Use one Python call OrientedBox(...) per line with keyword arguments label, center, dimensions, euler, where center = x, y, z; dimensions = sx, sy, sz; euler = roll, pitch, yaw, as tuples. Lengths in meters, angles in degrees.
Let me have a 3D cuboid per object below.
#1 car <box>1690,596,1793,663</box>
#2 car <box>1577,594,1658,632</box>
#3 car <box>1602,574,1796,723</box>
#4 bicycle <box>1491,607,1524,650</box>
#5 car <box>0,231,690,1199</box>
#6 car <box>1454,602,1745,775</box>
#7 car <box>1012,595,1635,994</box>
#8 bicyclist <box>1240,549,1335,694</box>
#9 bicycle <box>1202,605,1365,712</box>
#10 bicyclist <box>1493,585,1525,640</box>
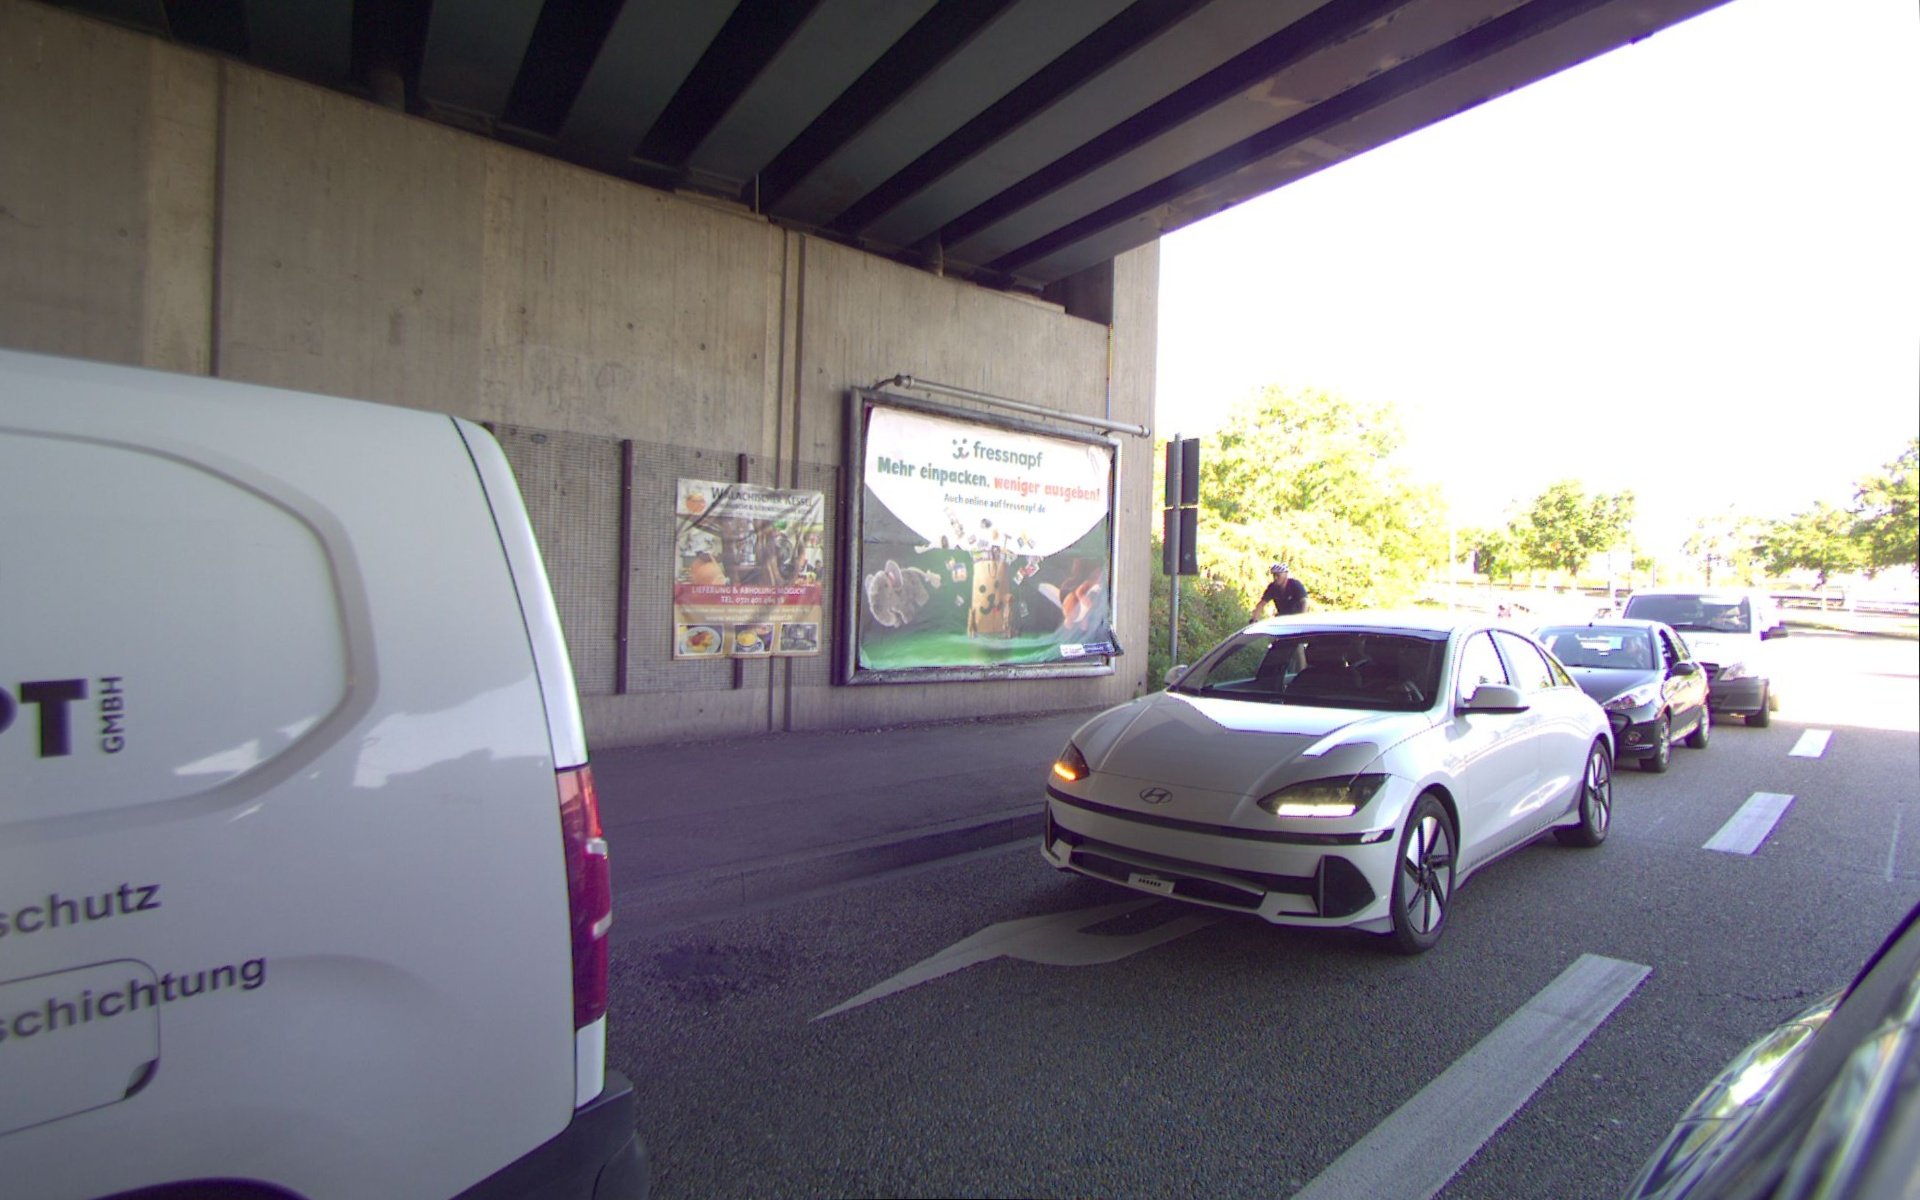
OrientedBox(label="car", center=(20.478, 0.689, 26.488), dimensions=(1.990, 1.570, 4.359), euler=(0, 1, 39))
OrientedBox(label="car", center=(29.563, 0.546, 45.455), dimensions=(4.453, 1.616, 1.818), euler=(0, 1, -39))
OrientedBox(label="car", center=(11.090, 0.596, 15.034), dimensions=(1.896, 1.859, 4.762), euler=(0, 0, 42))
OrientedBox(label="bicycle", center=(15.990, 0.809, 29.535), dimensions=(0.649, 1.181, 1.757), euler=(4, 2, 33))
OrientedBox(label="car", center=(-2.602, 0.511, 0.858), dimensions=(4.227, 1.857, 1.815), euler=(1, -1, -43))
OrientedBox(label="car", center=(6.812, 0.765, 10.641), dimensions=(3.654, 1.474, 1.747), euler=(0, 0, -43))
OrientedBox(label="car", center=(2.474, 0.715, 6.009), dimensions=(1.746, 1.474, 4.589), euler=(0, 0, 44))
OrientedBox(label="bicyclist", center=(3.992, 0.247, 12.335), dimensions=(0.871, 1.676, 0.748), euler=(0, 0, -41))
OrientedBox(label="bicycle", center=(3.979, 0.652, 12.321), dimensions=(2.427, 1.160, 0.766), euler=(-1, 0, -42))
OrientedBox(label="bicyclist", center=(16.045, 0.350, 29.563), dimensions=(0.651, 1.552, 0.836), euler=(4, 2, 34))
